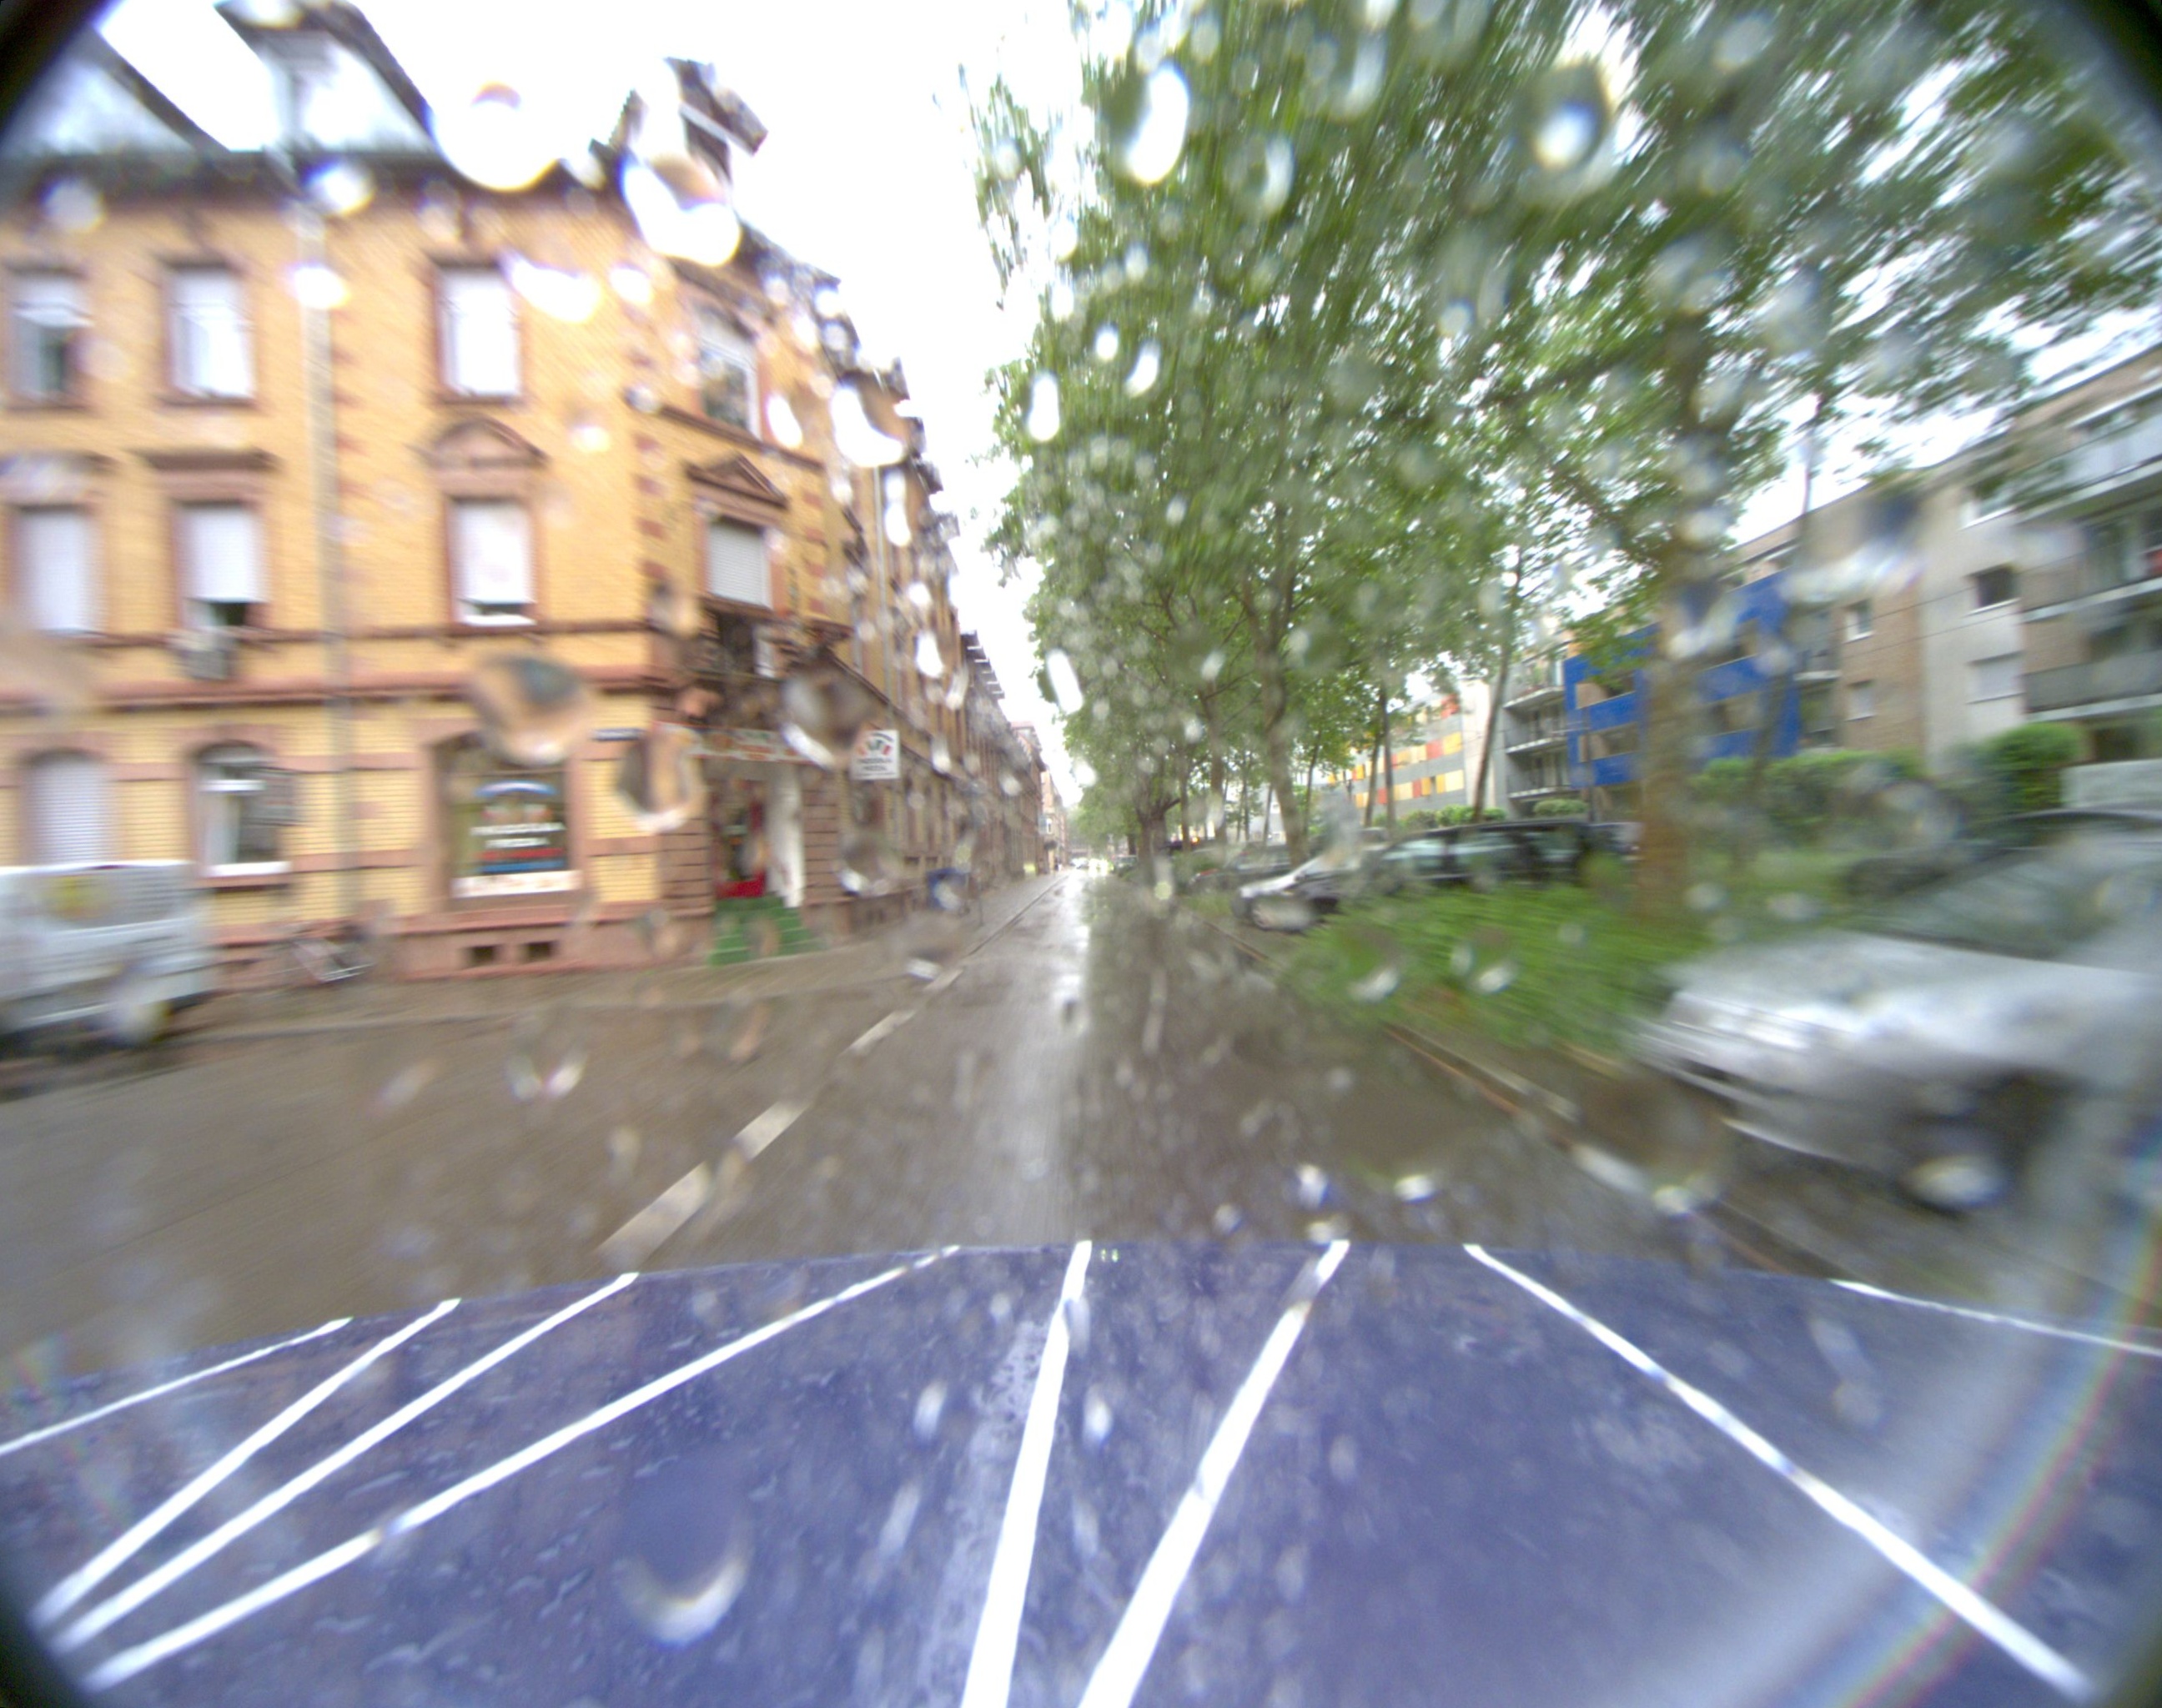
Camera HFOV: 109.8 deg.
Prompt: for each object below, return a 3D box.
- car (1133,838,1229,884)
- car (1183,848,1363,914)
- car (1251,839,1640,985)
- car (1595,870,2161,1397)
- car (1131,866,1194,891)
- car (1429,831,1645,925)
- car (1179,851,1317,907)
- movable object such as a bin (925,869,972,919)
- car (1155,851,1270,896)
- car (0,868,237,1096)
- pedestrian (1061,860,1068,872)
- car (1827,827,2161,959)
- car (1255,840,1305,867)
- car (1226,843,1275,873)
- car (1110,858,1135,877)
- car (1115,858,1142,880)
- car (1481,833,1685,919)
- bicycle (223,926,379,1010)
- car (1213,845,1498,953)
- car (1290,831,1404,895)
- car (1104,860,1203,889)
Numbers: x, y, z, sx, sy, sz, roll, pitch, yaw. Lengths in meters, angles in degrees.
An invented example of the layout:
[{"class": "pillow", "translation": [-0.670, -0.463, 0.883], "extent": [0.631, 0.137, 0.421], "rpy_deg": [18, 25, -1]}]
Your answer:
[{"class": "car", "translation": [5.369, 0.383, 40.957], "extent": [4.648, 2.269, 2.015], "rpy_deg": [-3, -1, 30]}, {"class": "car", "translation": [5.020, 0.723, 20.023], "extent": [4.220, 1.470, 1.747], "rpy_deg": [-4, -1, 28]}, {"class": "car", "translation": [4.833, 0.739, 10.484], "extent": [4.407, 1.650, 1.933], "rpy_deg": [-3, -1, 30]}, {"class": "car", "translation": [4.454, 0.823, 2.682], "extent": [4.060, 1.490, 1.750], "rpy_deg": [-4, -1, 24]}, {"class": "car", "translation": [5.137, 1.571, 47.941], "extent": [3.494, 1.427, 1.785], "rpy_deg": [-3, -1, 28]}, {"class": "car", "translation": [9.447, 0.467, 16.233], "extent": [1.999, 1.631, 4.139], "rpy_deg": [-4, 0, -1]}, {"class": "car", "translation": [5.033, 0.769, 22.985], "extent": [3.645, 1.470, 1.747], "rpy_deg": [-4, -1, 31]}, {"class": "movable object such as a bin", "translation": [-3.594, 1.074, 20.789], "extent": [1.024, 1.294, 1.367], "rpy_deg": [1, -1, 0]}, {"class": "car", "translation": [5.189, 0.769, 29.981], "extent": [4.056, 1.528, 1.838], "rpy_deg": [-4, -1, 26]}, {"class": "car", "translation": [-11.779, 1.259, 7.573], "extent": [4.240, 1.933, 1.933], "rpy_deg": [-3, 2, -3]}, {"class": "pedestrian", "translation": [-2.224, 1.582, 100.996], "extent": [0.849, 1.564, 0.576], "rpy_deg": [2, 0, 1]}, {"class": "car", "translation": [12.167, 0.398, 9.157], "extent": [1.999, 1.381, 4.258], "rpy_deg": [-2, -1, -3]}, {"class": "car", "translation": [12.458, -0.003, 47.848], "extent": [1.909, 1.525, 4.216], "rpy_deg": [-3, -1, -1]}, {"class": "car", "translation": [12.548, 0.355, 56.713], "extent": [2.059, 1.985, 5.434], "rpy_deg": [-5, -1, -3]}, {"class": "car", "translation": [3.651, 1.189, 67.476], "extent": [1.901, 1.476, 4.622], "rpy_deg": [-4, -1, 0]}, {"class": "car", "translation": [3.621, 1.152, 58.168], "extent": [1.733, 1.505, 4.208], "rpy_deg": [-4, -1, 0]}, {"class": "car", "translation": [11.939, 0.509, 18.528], "extent": [1.909, 1.730, 4.422], "rpy_deg": [-3, -1, -1]}, {"class": "bicycle", "translation": [-10.553, 1.530, 10.304], "extent": [1.542, 1.001, 0.434], "rpy_deg": [-2, -1, -5]}, {"class": "car", "translation": [4.775, 0.708, 13.407], "extent": [4.406, 1.636, 1.875], "rpy_deg": [-1, 0, 32]}, {"class": "car", "translation": [9.450, 0.349, 27.525], "extent": [2.043, 1.988, 5.159], "rpy_deg": [-3, -1, -2]}, {"class": "car", "translation": [3.680, 1.058, 38.972], "extent": [4.649, 1.318, 1.850], "rpy_deg": [-3, -1, 28]}]
